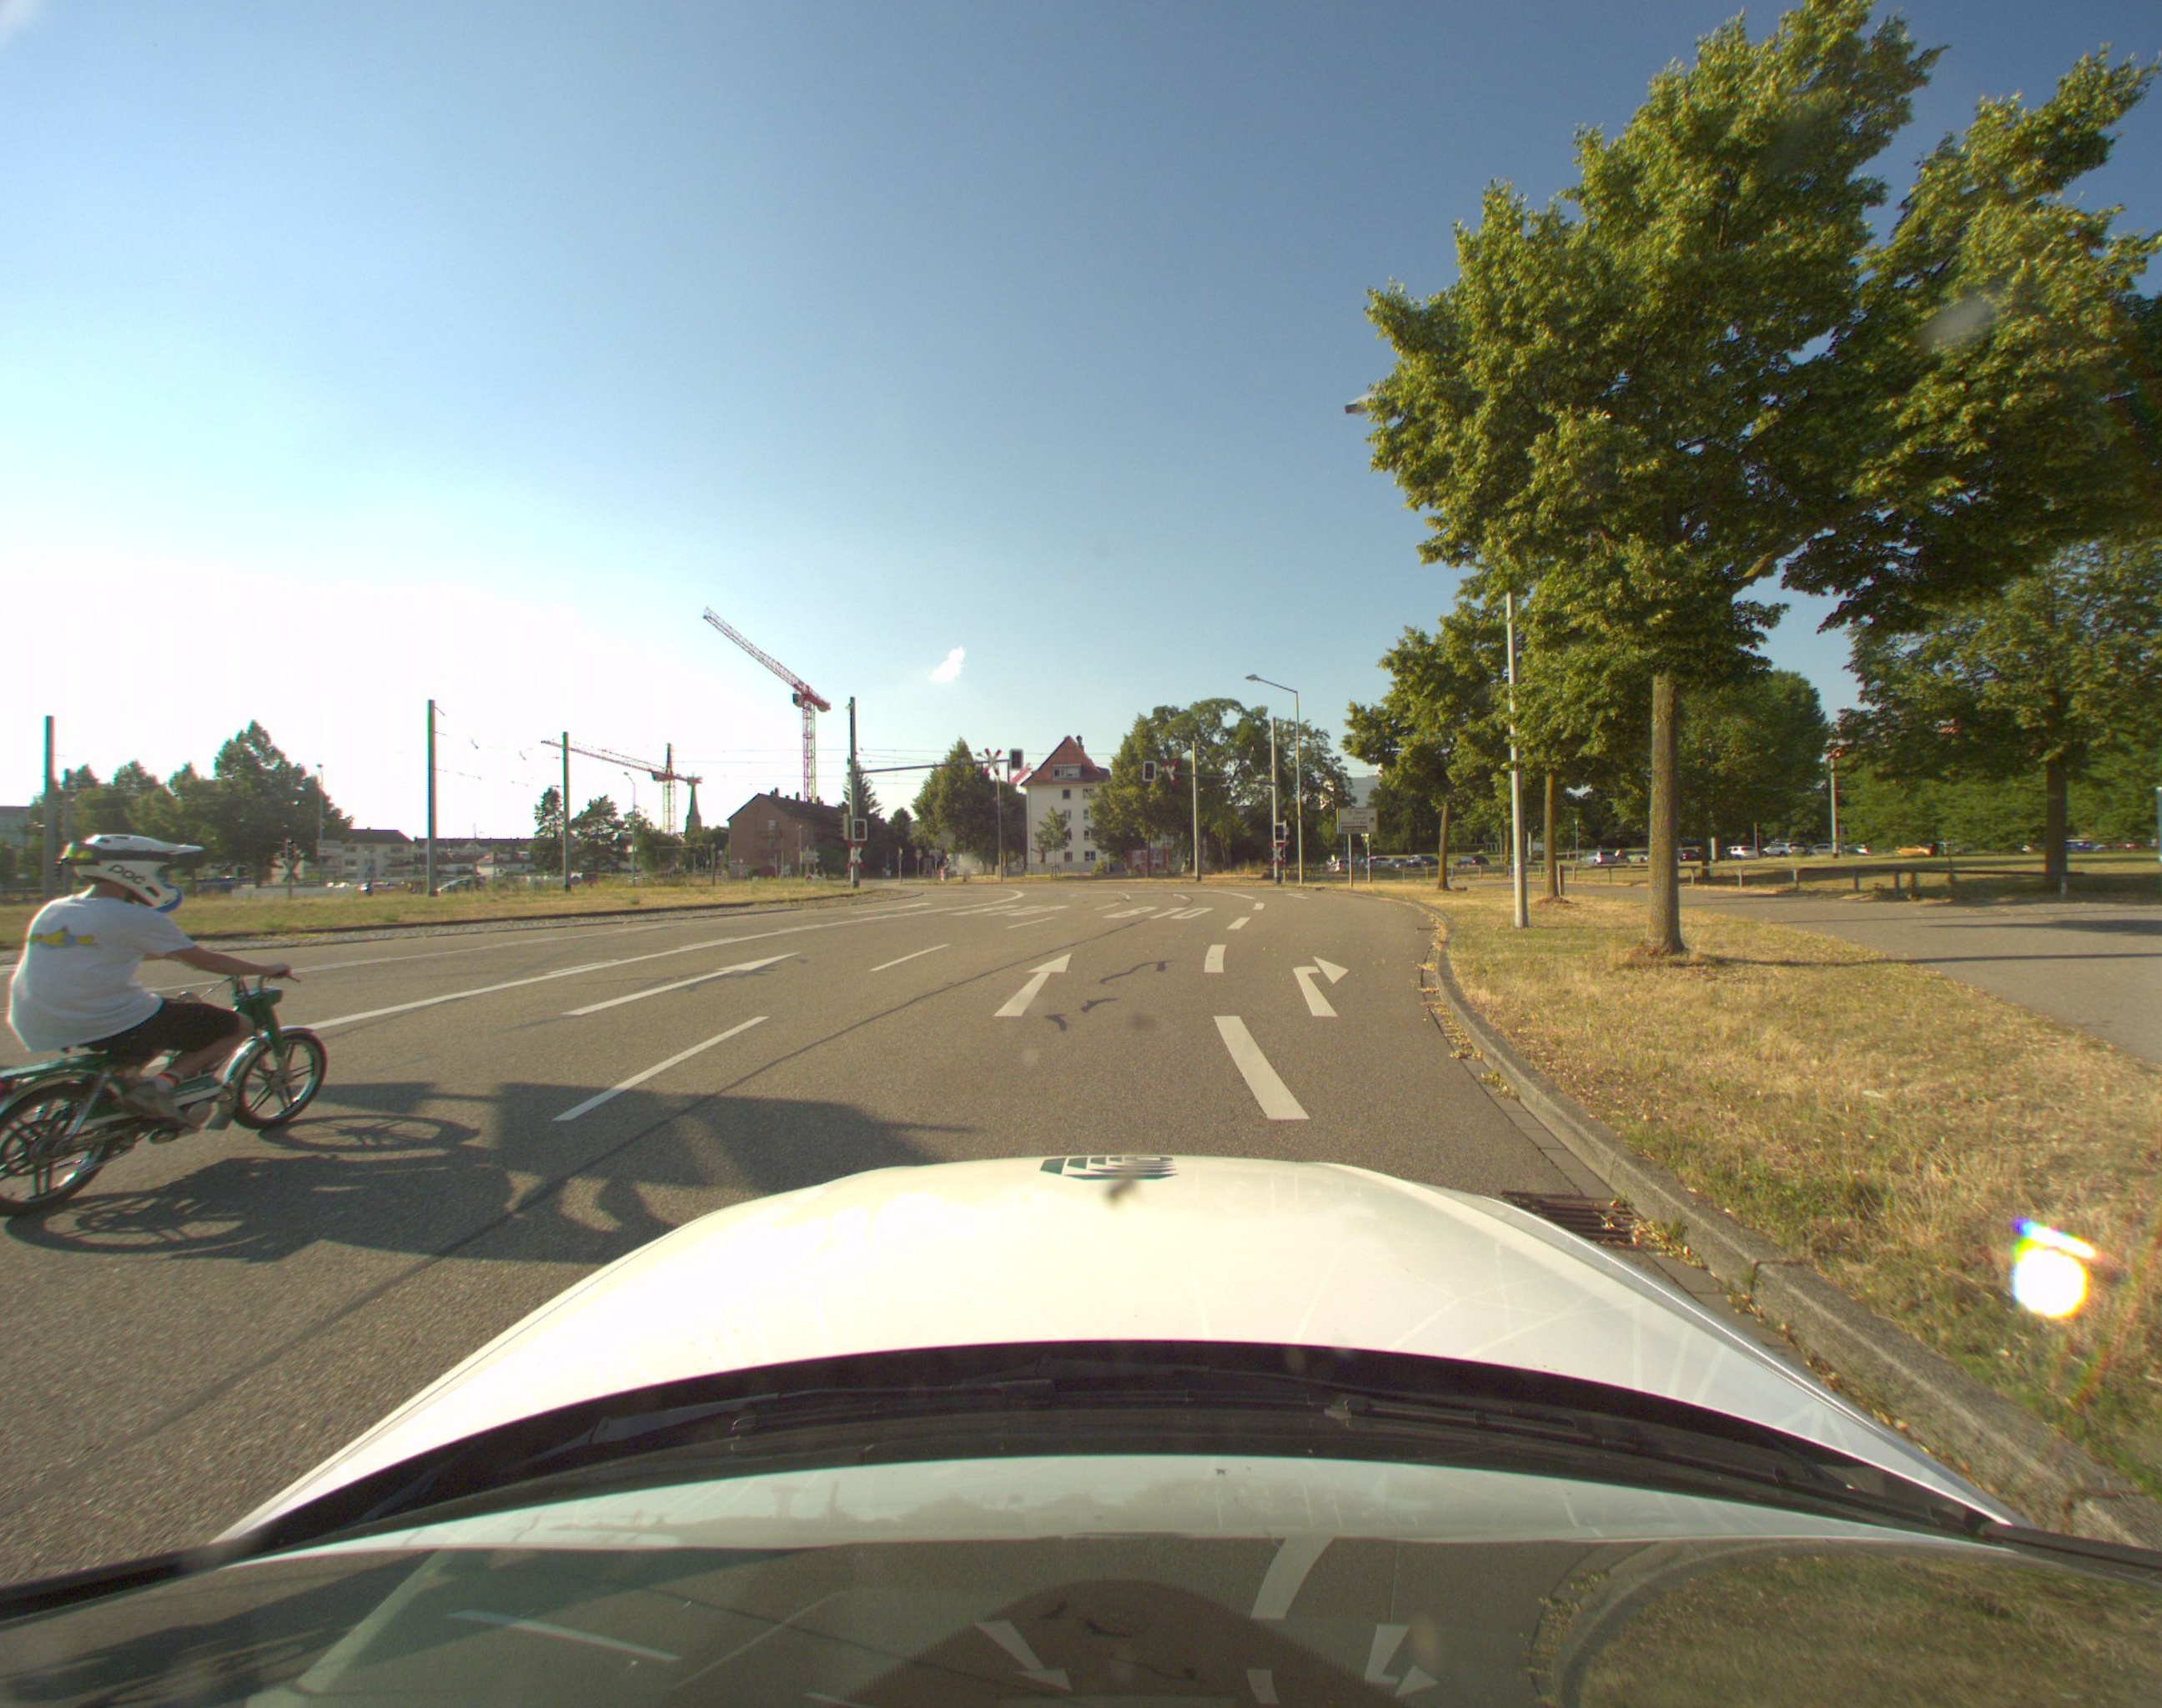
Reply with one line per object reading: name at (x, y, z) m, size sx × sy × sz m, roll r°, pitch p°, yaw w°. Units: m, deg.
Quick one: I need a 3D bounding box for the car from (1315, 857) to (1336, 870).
car at (27.556, 1.073, 91.827) m, size 1.592 × 1.402 × 3.977 m, roll -2°, pitch -1°, yaw 8°

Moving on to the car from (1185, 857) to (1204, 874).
car at (11.216, 1.140, 80.068) m, size 1.761 × 1.618 × 3.977 m, roll -2°, pitch -1°, yaw 8°

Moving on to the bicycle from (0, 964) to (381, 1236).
bicycle at (-4.574, 1.134, 4.251) m, size 0.477 × 0.876 × 1.850 m, roll -1°, pitch -1°, yaw -9°

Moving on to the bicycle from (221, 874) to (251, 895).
bicycle at (-64.390, 2.318, 62.044) m, size 1.552 × 1.473 × 0.474 m, roll -1°, pitch -1°, yaw -41°

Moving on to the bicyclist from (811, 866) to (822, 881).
bicyclist at (-26.047, 1.933, 80.186) m, size 0.902 × 1.396 × 0.521 m, roll -1°, pitch -1°, yaw -26°

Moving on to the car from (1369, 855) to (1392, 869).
car at (33.384, 0.895, 90.905) m, size 1.592 × 1.402 × 3.977 m, roll -2°, pitch -1°, yaw 8°

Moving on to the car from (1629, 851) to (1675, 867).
car at (54.924, 0.497, 78.458) m, size 1.813 × 1.403 × 4.004 m, roll -2°, pitch -1°, yaw 4°

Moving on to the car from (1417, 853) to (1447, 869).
car at (33.908, 0.689, 78.777) m, size 1.592 × 1.402 × 3.977 m, roll -2°, pitch -1°, yaw 8°

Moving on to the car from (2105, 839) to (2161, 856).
car at (98.532, -0.600, 75.696) m, size 1.813 × 1.403 × 4.004 m, roll -2°, pitch -1°, yaw 4°

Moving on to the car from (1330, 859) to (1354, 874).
car at (25.617, 1.232, 80.008) m, size 1.592 × 1.402 × 3.977 m, roll -2°, pitch -1°, yaw 8°

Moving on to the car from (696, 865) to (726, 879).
car at (-56.610, 2.727, 124.616) m, size 3.798 × 2.014 × 1.670 m, roll -1°, pitch -1°, yaw -2°

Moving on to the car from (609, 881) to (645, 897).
car at (-59.549, 4.599, 106.837) m, size 3.798 × 2.014 × 1.670 m, roll -1°, pitch -1°, yaw -2°

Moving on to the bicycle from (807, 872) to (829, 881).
bicycle at (-25.871, 2.181, 80.240) m, size 1.997 × 0.825 × 0.426 m, roll -1°, pitch -1°, yaw -26°

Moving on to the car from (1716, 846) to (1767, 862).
car at (62.890, 0.012, 77.636) m, size 1.813 × 1.403 × 4.004 m, roll -2°, pitch -1°, yaw 4°

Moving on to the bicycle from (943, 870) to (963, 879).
bicycle at (-13.503, 2.176, 85.851) m, size 1.997 × 0.918 × 0.426 m, roll -1°, pitch -1°, yaw -26°

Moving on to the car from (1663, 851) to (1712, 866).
car at (57.770, 0.445, 77.681) m, size 1.813 × 1.403 × 4.004 m, roll -2°, pitch -1°, yaw 4°

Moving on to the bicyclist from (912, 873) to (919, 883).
bicyclist at (-26.286, 3.840, 129.614) m, size 0.884 × 1.562 × 0.663 m, roll -2°, pitch -2°, yaw 16°

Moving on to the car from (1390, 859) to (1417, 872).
car at (31.397, 1.105, 79.352) m, size 1.592 × 1.221 × 3.977 m, roll -2°, pitch -1°, yaw 8°

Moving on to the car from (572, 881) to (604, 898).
car at (-55.471, 3.977, 91.605) m, size 3.948 × 1.854 × 1.937 m, roll -2°, pitch -1°, yaw 40°

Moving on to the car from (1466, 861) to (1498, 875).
car at (38.573, 1.336, 78.398) m, size 1.592 × 1.310 × 3.977 m, roll -2°, pitch -1°, yaw 8°

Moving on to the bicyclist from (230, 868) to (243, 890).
bicyclist at (-64.372, 1.917, 62.084) m, size 0.612 × 1.672 × 0.472 m, roll 0°, pitch -2°, yaw -41°

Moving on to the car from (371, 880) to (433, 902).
car at (-62.212, 3.402, 74.672) m, size 1.974 × 1.816 × 4.025 m, roll -2°, pitch -1°, yaw 38°

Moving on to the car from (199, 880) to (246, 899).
car at (-99.931, 4.147, 94.839) m, size 3.959 × 2.014 × 2.007 m, roll -2°, pitch -1°, yaw 13°

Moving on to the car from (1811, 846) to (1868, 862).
car at (71.479, 0.030, 76.804) m, size 1.813 × 1.403 × 4.004 m, roll -2°, pitch -1°, yaw 4°

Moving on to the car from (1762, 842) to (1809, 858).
car at (76.338, -0.407, 88.294) m, size 1.813 × 1.672 × 4.004 m, roll -2°, pitch -1°, yaw 4°

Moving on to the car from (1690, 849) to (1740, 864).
car at (60.166, 0.255, 77.379) m, size 1.813 × 1.403 × 4.004 m, roll -2°, pitch -1°, yaw 4°

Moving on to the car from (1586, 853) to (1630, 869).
car at (50.586, 0.715, 78.239) m, size 1.813 × 1.403 × 4.004 m, roll -2°, pitch -1°, yaw 4°

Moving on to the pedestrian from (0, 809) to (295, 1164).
pedestrian at (-4.541, 0.572, 3.956) m, size 0.656 × 1.519 × 0.851 m, roll -1°, pitch -1°, yaw -11°

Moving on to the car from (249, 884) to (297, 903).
car at (-91.585, 4.465, 92.292) m, size 3.959 × 2.014 × 2.007 m, roll -2°, pitch -1°, yaw 13°

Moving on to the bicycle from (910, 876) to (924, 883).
bicycle at (-26.072, 4.066, 129.584) m, size 2.083 × 0.963 × 0.601 m, roll -2°, pitch -1°, yaw 16°
